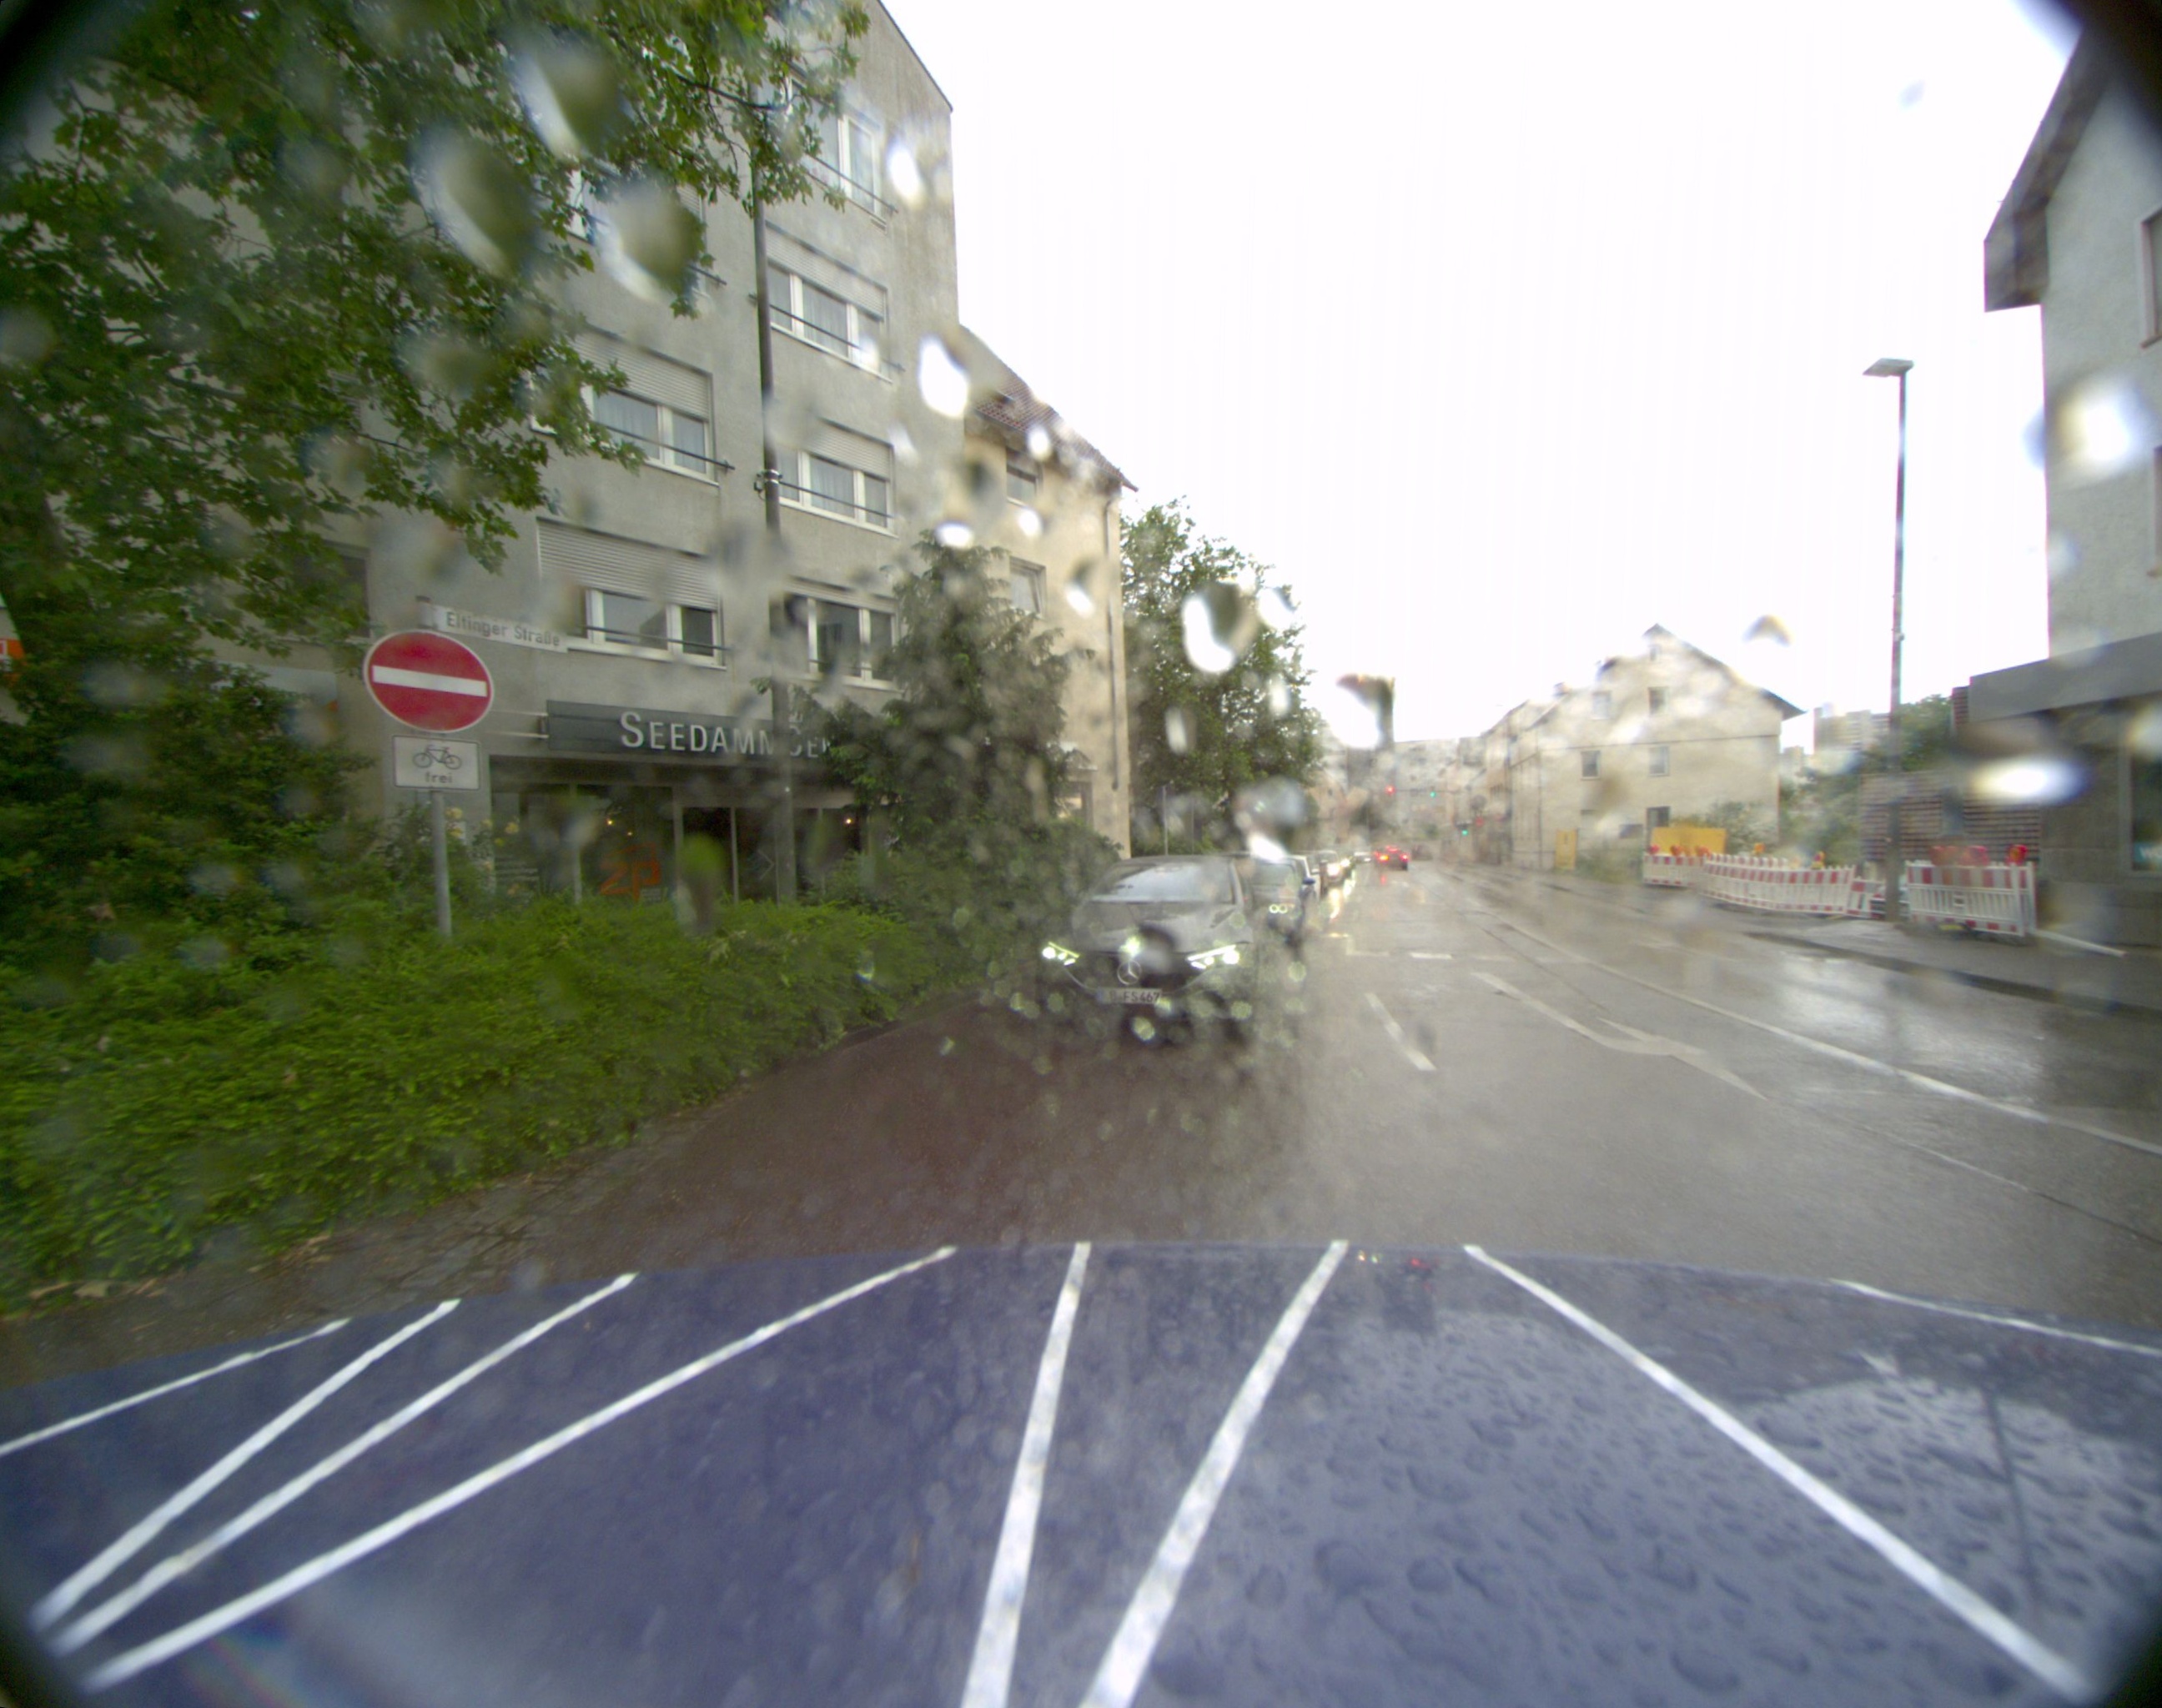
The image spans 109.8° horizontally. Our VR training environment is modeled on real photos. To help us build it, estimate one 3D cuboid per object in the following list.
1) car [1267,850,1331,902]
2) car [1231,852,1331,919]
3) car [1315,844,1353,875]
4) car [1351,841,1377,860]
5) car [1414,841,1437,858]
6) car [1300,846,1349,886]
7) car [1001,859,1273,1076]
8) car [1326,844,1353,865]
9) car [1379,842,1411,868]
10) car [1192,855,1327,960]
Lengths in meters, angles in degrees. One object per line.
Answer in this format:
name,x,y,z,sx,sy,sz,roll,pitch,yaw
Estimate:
car,7.596,0.704,26.207,1.811,1.556,4.005,-3,0,20
car,5.365,0.765,19.963,1.996,1.444,4.005,-3,0,22
car,14.302,0.291,42.907,1.829,1.543,4.006,-3,-1,20
car,26.441,-0.289,71.143,1.996,1.542,4.007,-1,-3,17
car,32.659,-0.436,72.078,1.810,1.556,4.005,-1,1,21
car,10.975,0.506,34.100,1.842,1.612,4.005,-2,0,20
car,0.888,0.864,7.766,1.996,1.484,4.318,-2,0,14
car,19.830,0.035,58.266,1.851,1.469,4.005,-2,0,18
car,20.869,0.054,50.566,1.810,1.556,4.006,-3,0,21
car,3.415,0.851,13.886,1.771,1.524,4.384,-2,0,21
